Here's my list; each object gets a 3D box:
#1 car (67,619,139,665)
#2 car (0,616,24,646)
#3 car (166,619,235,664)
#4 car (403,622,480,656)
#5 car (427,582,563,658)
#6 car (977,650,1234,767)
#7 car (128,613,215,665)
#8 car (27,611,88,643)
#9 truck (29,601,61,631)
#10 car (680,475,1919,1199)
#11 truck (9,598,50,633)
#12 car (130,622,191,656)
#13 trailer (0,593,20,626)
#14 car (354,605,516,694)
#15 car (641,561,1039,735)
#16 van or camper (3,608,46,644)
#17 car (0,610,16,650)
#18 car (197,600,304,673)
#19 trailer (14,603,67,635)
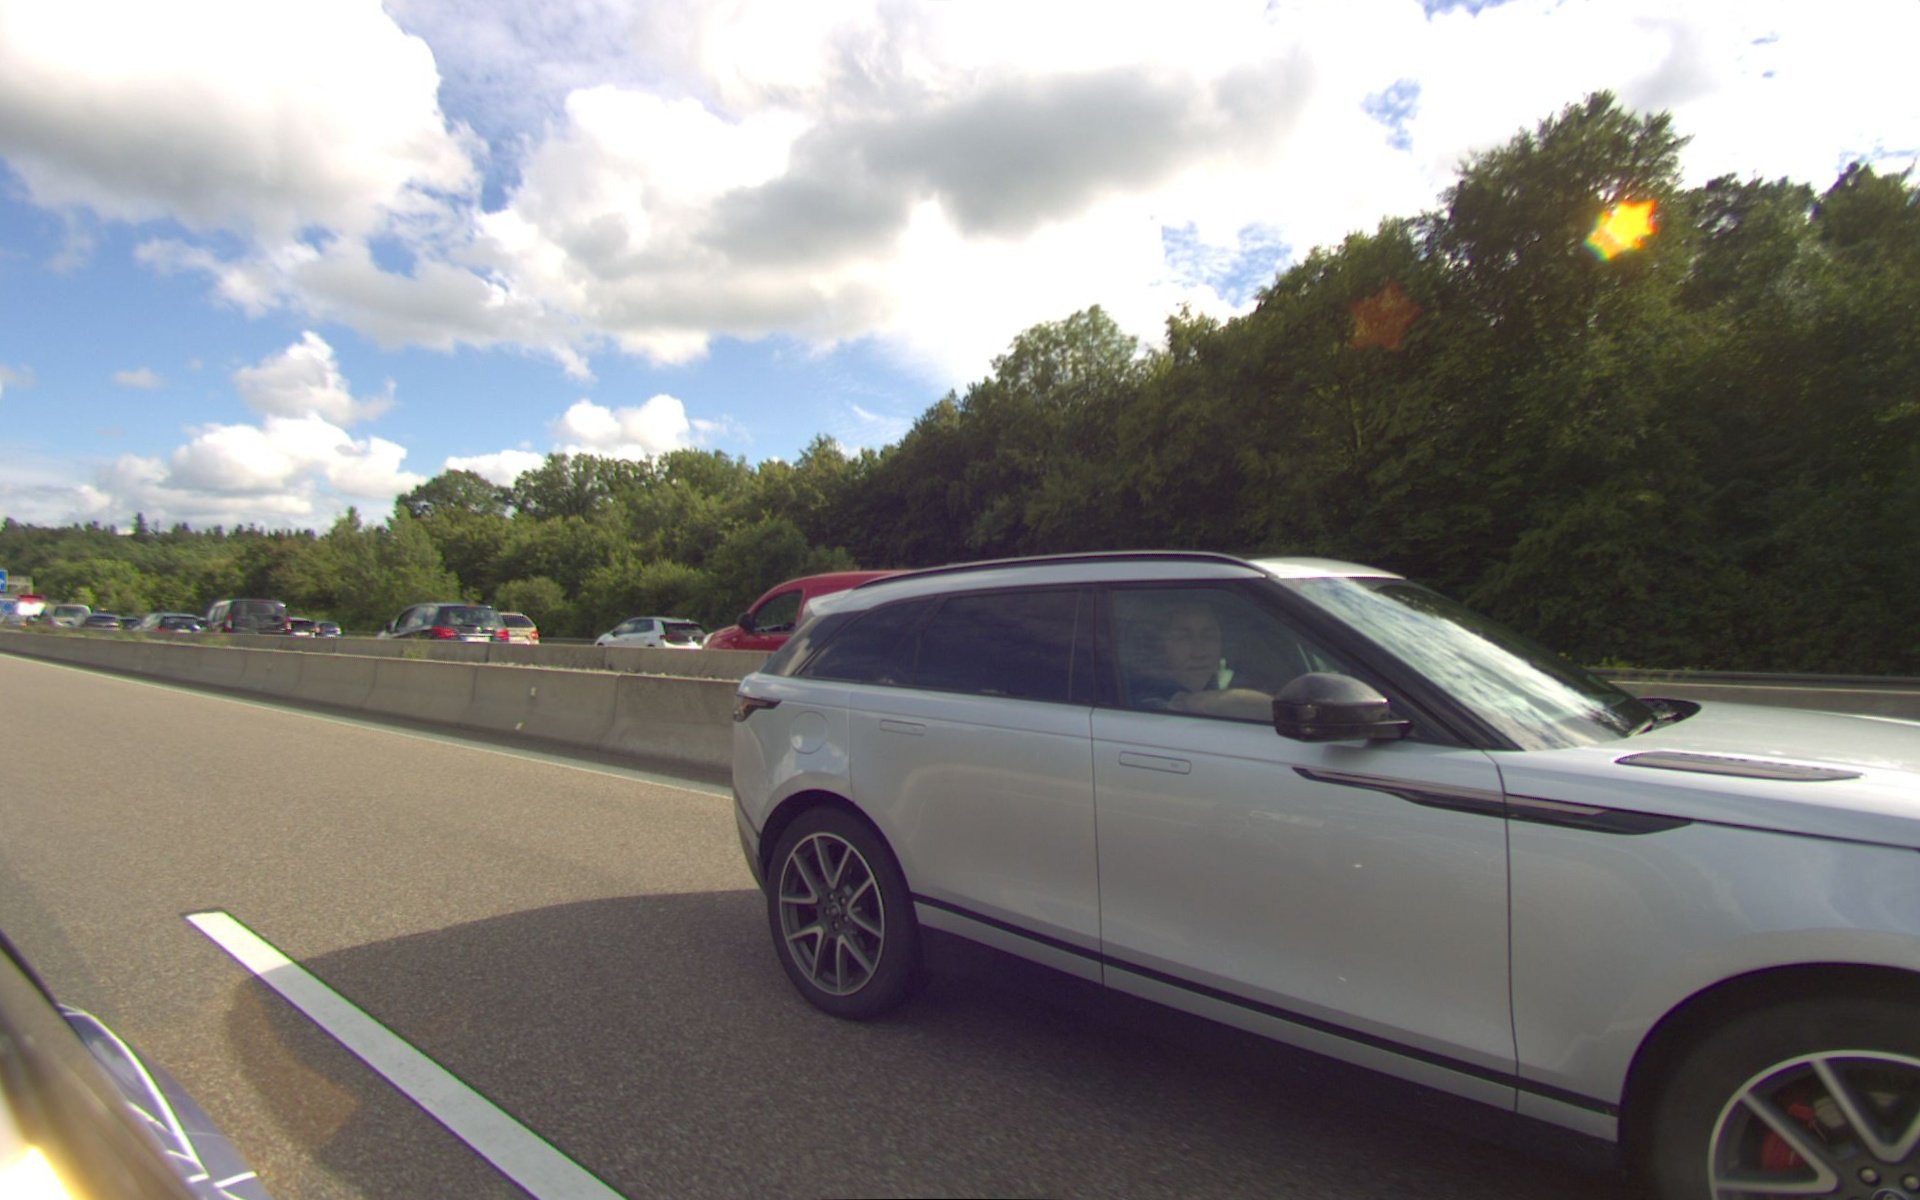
[{"bbox_3d":[-40.221,1.935,47.458,4.458,1.919,1.972,0,1,42],"label":"car"},{"bbox_3d":[-67.473,2.185,71.211,5.090,2.029,1.884,-1,-2,42],"label":"car"},{"bbox_3d":[-37.730,2.009,50.255,4.458,2.029,1.972,0,0,42],"label":"car"},{"bbox_3d":[-25.665,1.894,50.014,5.072,1.411,1.694,1,1,42],"label":"car"},{"bbox_3d":[-13.545,0.525,29.350,4.458,2.029,1.972,1,-1,42],"label":"car"},{"bbox_3d":[2.634,1.911,19.027,4.458,1.776,1.972,-1,0,42],"label":"car"},{"bbox_3d":[-30.719,1.462,39.383,4.458,1.772,1.972,1,1,42],"label":"car"},{"bbox_3d":[-48.397,1.415,54.232,4.814,1.584,1.972,-1,0,42],"label":"car"},{"bbox_3d":[-134.154,2.335,148.392,5.449,4.181,2.783,1,0,40],"label":"truck"},{"bbox_3d":[1.357,0.601,3.200,5.104,1.619,1.880,0,0,42],"label":"car"},{"bbox_3d":[-109.795,1.832,119.360,6.848,3.968,2.748,-1,0,40],"label":"truck"},{"bbox_3d":[-45.069,2.155,57.024,4.761,1.746,1.972,-1,0,42],"label":"car"},{"bbox_3d":[-132.150,1.261,139.151,13.651,4.266,2.743,1,1,40],"label":"trailer"},{"bbox_3d":[-11.941,1.020,22.899,4.458,1.776,1.838,0,0,42],"label":"car"},{"bbox_3d":[-1.706,0.525,12.792,5.289,1.776,1.857,-1,0,40],"label":"car"},{"bbox_3d":[-85.976,2.382,93.016,6.240,3.196,2.117,-1,0,40],"label":"van or camper"},{"bbox_3d":[-48.586,1.493,50.365,3.998,1.935,1.973,-2,-1,41],"label":"car"},{"bbox_3d":[-22.005,1.044,31.319,4.451,2.029,1.797,1,1,42],"label":"car"},{"bbox_3d":[-104.490,2.143,114.901,14.209,3.361,2.700,-1,0,40],"label":"trailer"}]
